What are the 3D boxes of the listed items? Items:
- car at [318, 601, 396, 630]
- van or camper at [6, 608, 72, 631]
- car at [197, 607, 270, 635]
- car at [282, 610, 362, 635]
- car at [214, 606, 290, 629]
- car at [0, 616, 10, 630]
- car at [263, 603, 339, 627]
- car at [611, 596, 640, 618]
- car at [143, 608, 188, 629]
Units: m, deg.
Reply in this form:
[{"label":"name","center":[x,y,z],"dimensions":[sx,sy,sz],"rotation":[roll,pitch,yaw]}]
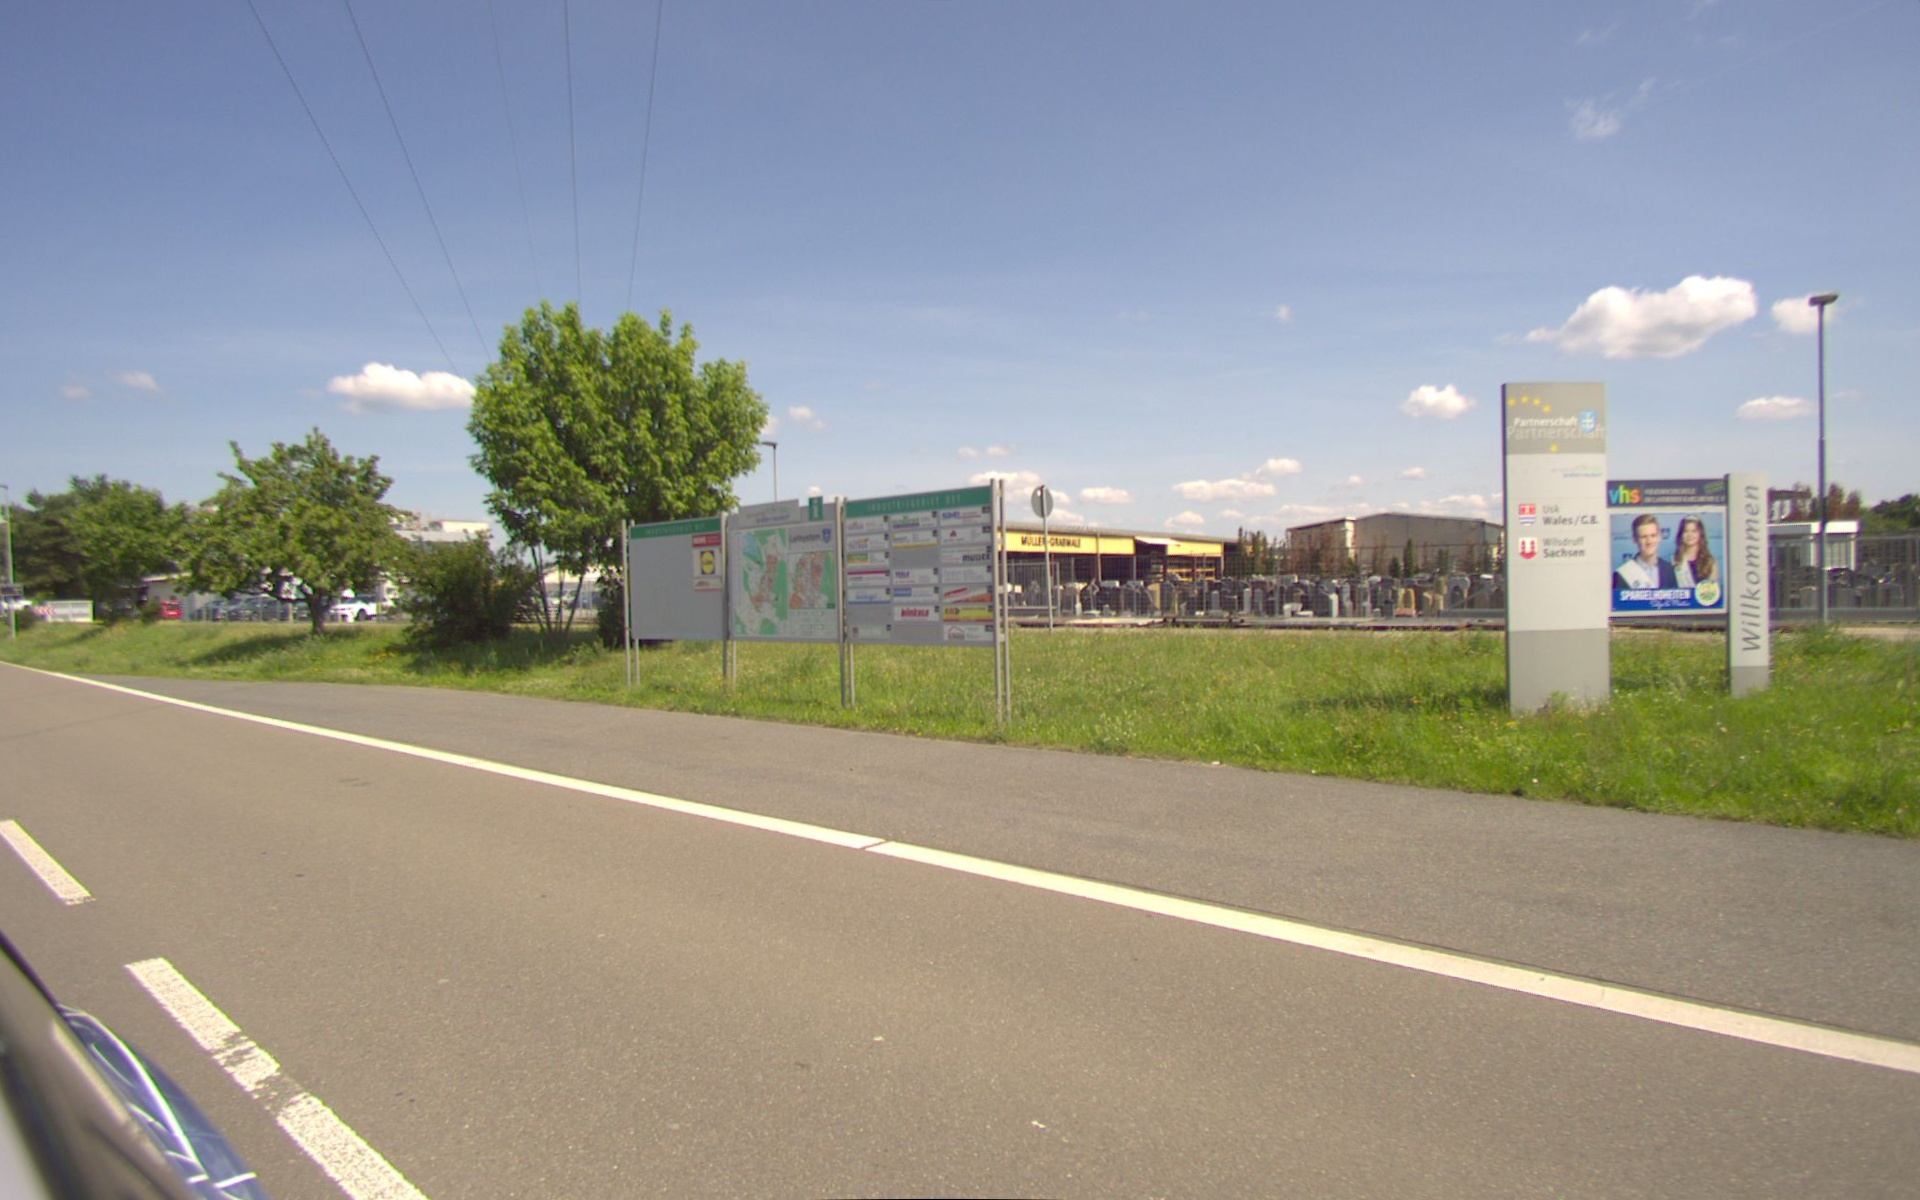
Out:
[{"label":"car","center":[-35.580,0.891,59.848],"dimensions":[1.920,1.552,3.991],"rotation":[-2,1,7]},{"label":"van or camper","center":[-112.004,2.377,123.126],"dimensions":[5.492,2.516,2.085],"rotation":[-2,1,-26]},{"label":"car","center":[-49.338,1.387,68.817],"dimensions":[1.703,1.717,4.100],"rotation":[-2,1,7]},{"label":"car","center":[-38.703,1.349,61.498],"dimensions":[1.921,1.320,3.989],"rotation":[-2,1,9]},{"label":"car","center":[-46.718,1.132,66.882],"dimensions":[1.920,1.320,3.991],"rotation":[-2,1,7]},{"label":"car","center":[-107.492,2.585,111.527],"dimensions":[2.000,1.530,3.944],"rotation":[-1,1,43]},{"label":"car","center":[-41.587,0.946,63.965],"dimensions":[1.920,1.320,3.991],"rotation":[-2,1,7]},{"label":"car","center":[-25.731,0.494,77.801],"dimensions":[1.909,1.585,4.013],"rotation":[-3,1,-21]},{"label":"car","center":[-69.991,1.650,89.139],"dimensions":[4.219,1.757,1.977],"rotation":[-1,1,35]}]
